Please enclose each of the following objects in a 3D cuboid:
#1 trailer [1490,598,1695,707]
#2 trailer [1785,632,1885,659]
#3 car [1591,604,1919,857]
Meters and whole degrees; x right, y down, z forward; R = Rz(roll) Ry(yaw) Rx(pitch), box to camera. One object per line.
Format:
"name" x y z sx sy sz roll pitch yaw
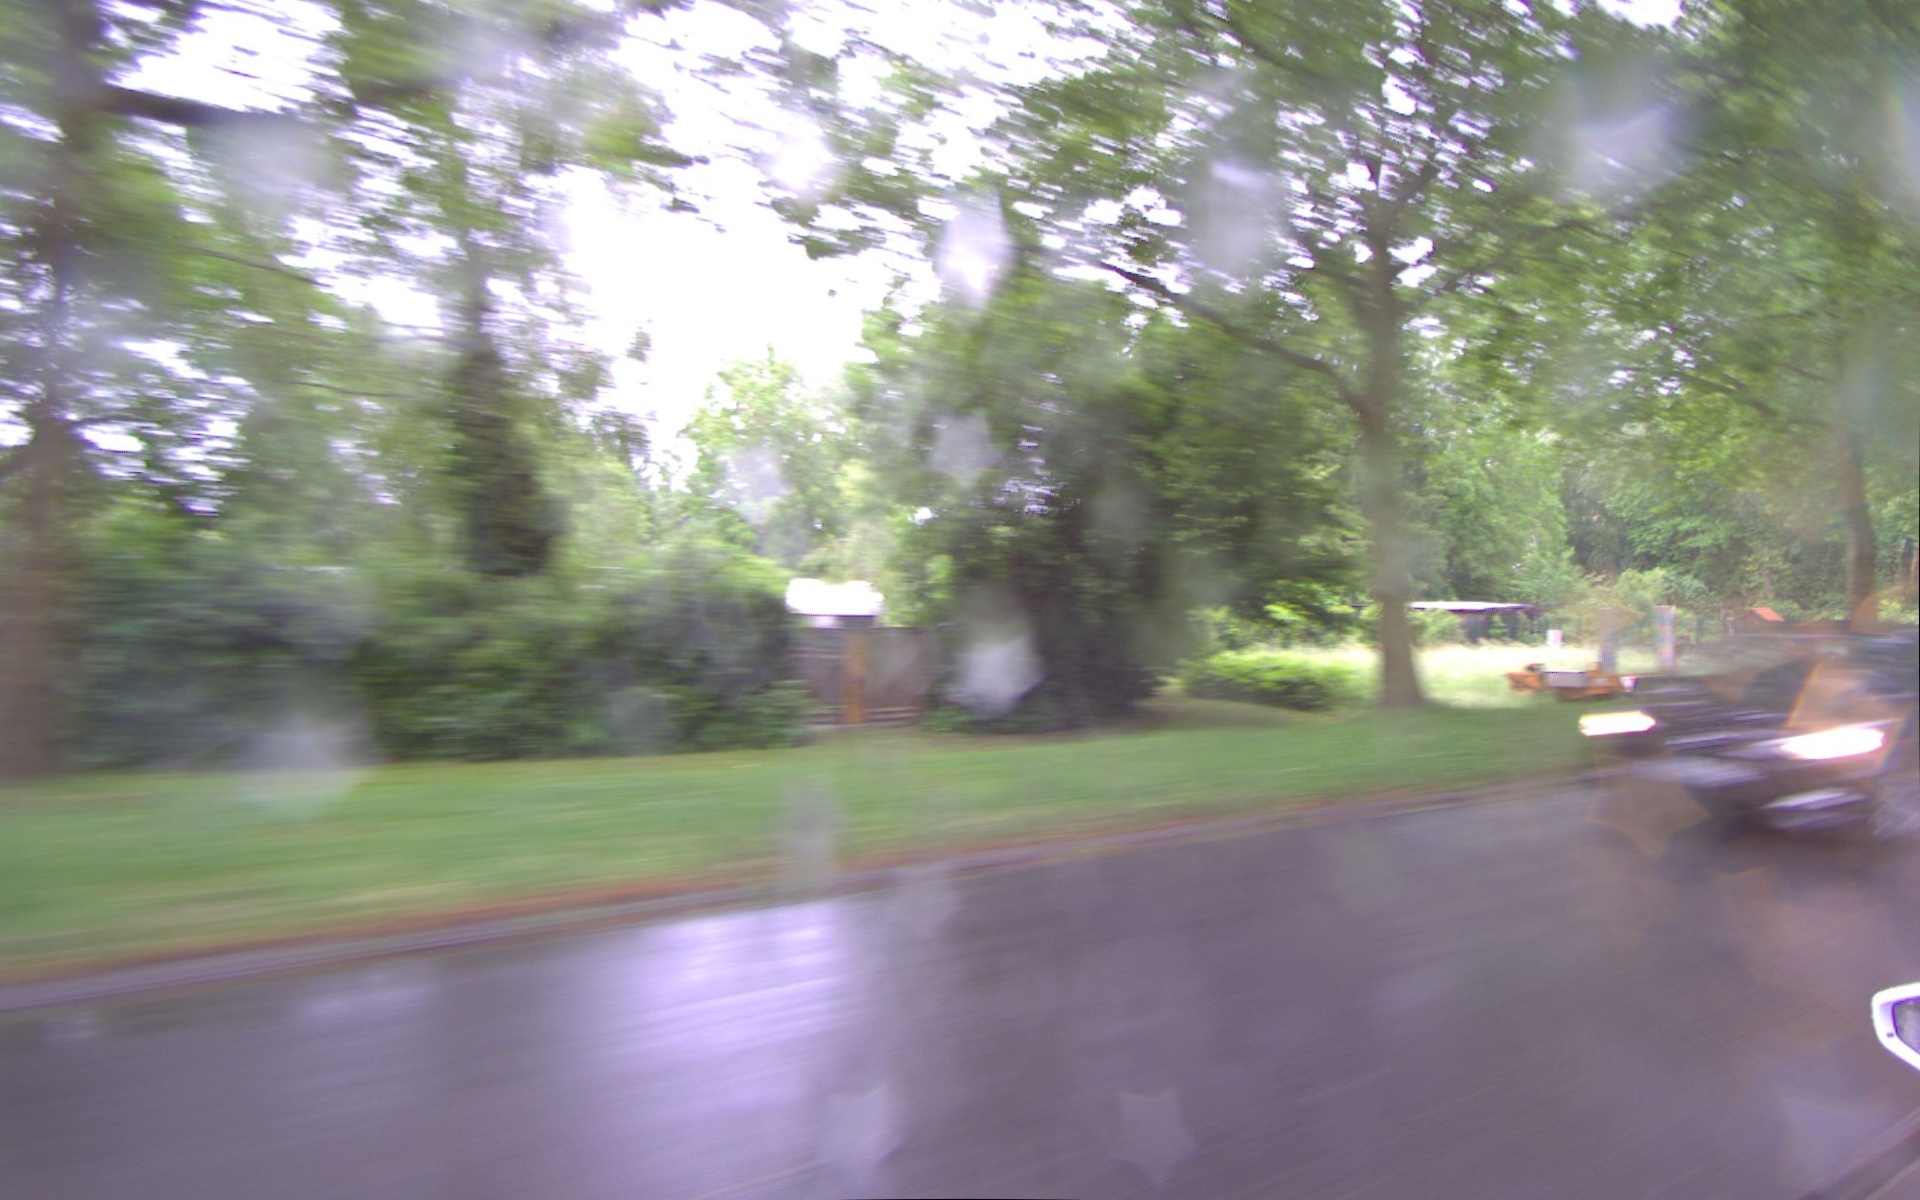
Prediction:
"trailer" 16.896 1.300 26.785 5.271 2.602 2.472 1 1 -31
"trailer" 44.219 2.287 50.801 1.806 1.194 3.526 0 0 -37
"car" 6.890 0.835 7.810 3.833 1.506 1.699 1 1 -29
